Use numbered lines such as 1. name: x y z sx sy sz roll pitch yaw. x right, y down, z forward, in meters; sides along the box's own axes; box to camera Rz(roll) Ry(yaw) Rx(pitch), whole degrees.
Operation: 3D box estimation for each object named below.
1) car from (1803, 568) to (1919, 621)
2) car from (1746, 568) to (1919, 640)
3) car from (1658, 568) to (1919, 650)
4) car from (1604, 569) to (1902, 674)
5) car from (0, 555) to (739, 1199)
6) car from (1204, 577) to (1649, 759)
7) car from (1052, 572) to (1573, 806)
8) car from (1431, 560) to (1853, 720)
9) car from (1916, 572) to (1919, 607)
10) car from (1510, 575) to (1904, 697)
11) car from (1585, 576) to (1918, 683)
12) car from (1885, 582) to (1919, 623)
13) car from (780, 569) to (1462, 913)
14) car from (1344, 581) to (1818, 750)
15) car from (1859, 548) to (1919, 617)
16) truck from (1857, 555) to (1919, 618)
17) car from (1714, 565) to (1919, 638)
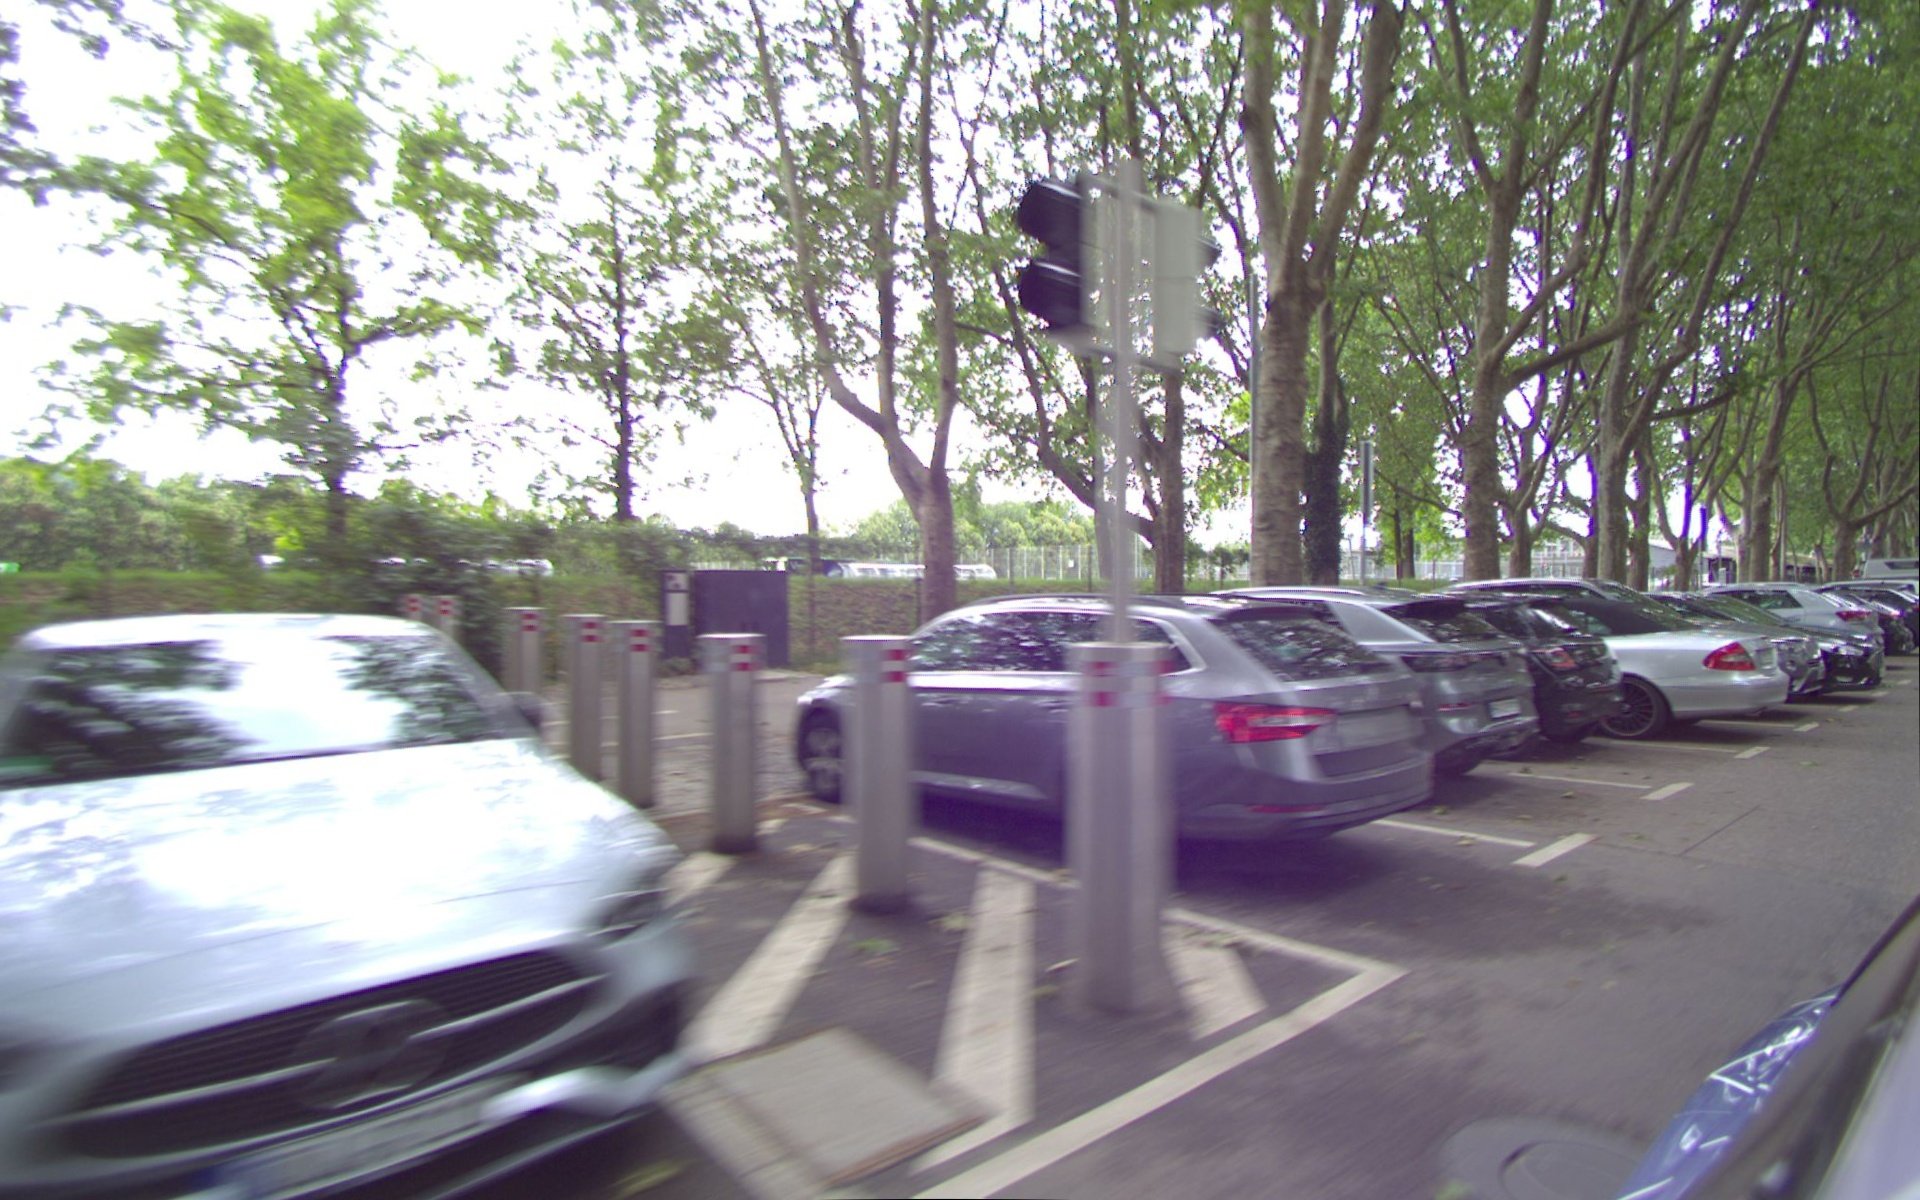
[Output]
1. car: 28.357 -0.180 30.358 1.674 1.545 4.507 -1 0 -42
2. car: 23.423 0.099 26.315 1.768 1.777 4.395 -1 0 -37
3. car: 15.768 0.170 19.239 1.665 1.406 3.832 -1 0 -41
4. car: 13.687 0.347 17.636 1.665 1.628 3.832 -1 0 -41
5. car: -2.670 0.693 3.762 1.621 1.488 4.622 -1 0 -40
6. car: 4.522 0.569 10.285 1.594 1.488 3.784 -1 0 -39
7. car: 2.702 0.582 8.437 1.638 1.488 3.782 -1 0 -40
8. car: 8.436 0.434 12.845 1.664 1.691 4.121 -1 0 -40
9. car: 46.561 -0.575 45.902 1.770 1.639 4.351 -1 -1 -37
10. car: 10.308 0.450 14.246 1.583 1.469 4.217 -1 0 -41
11. car: 12.474 0.423 16.221 1.660 1.474 3.843 -1 0 -29
12. car: 36.349 -0.002 36.501 1.672 1.447 4.128 -2 -2 -38
13. car: 0.659 0.627 6.567 1.595 1.488 4.373 -1 0 -41
14. car: 6.578 0.599 11.123 1.664 1.488 4.120 -1 0 -40
15. car: 39.759 -0.746 40.566 1.922 2.723 5.238 -1 -1 -39
16. truck: 43.429 -0.627 44.042 2.060 2.749 6.307 -1 0 -38
17. car: 19.453 0.030 22.534 1.665 1.505 3.992 -1 0 -41
